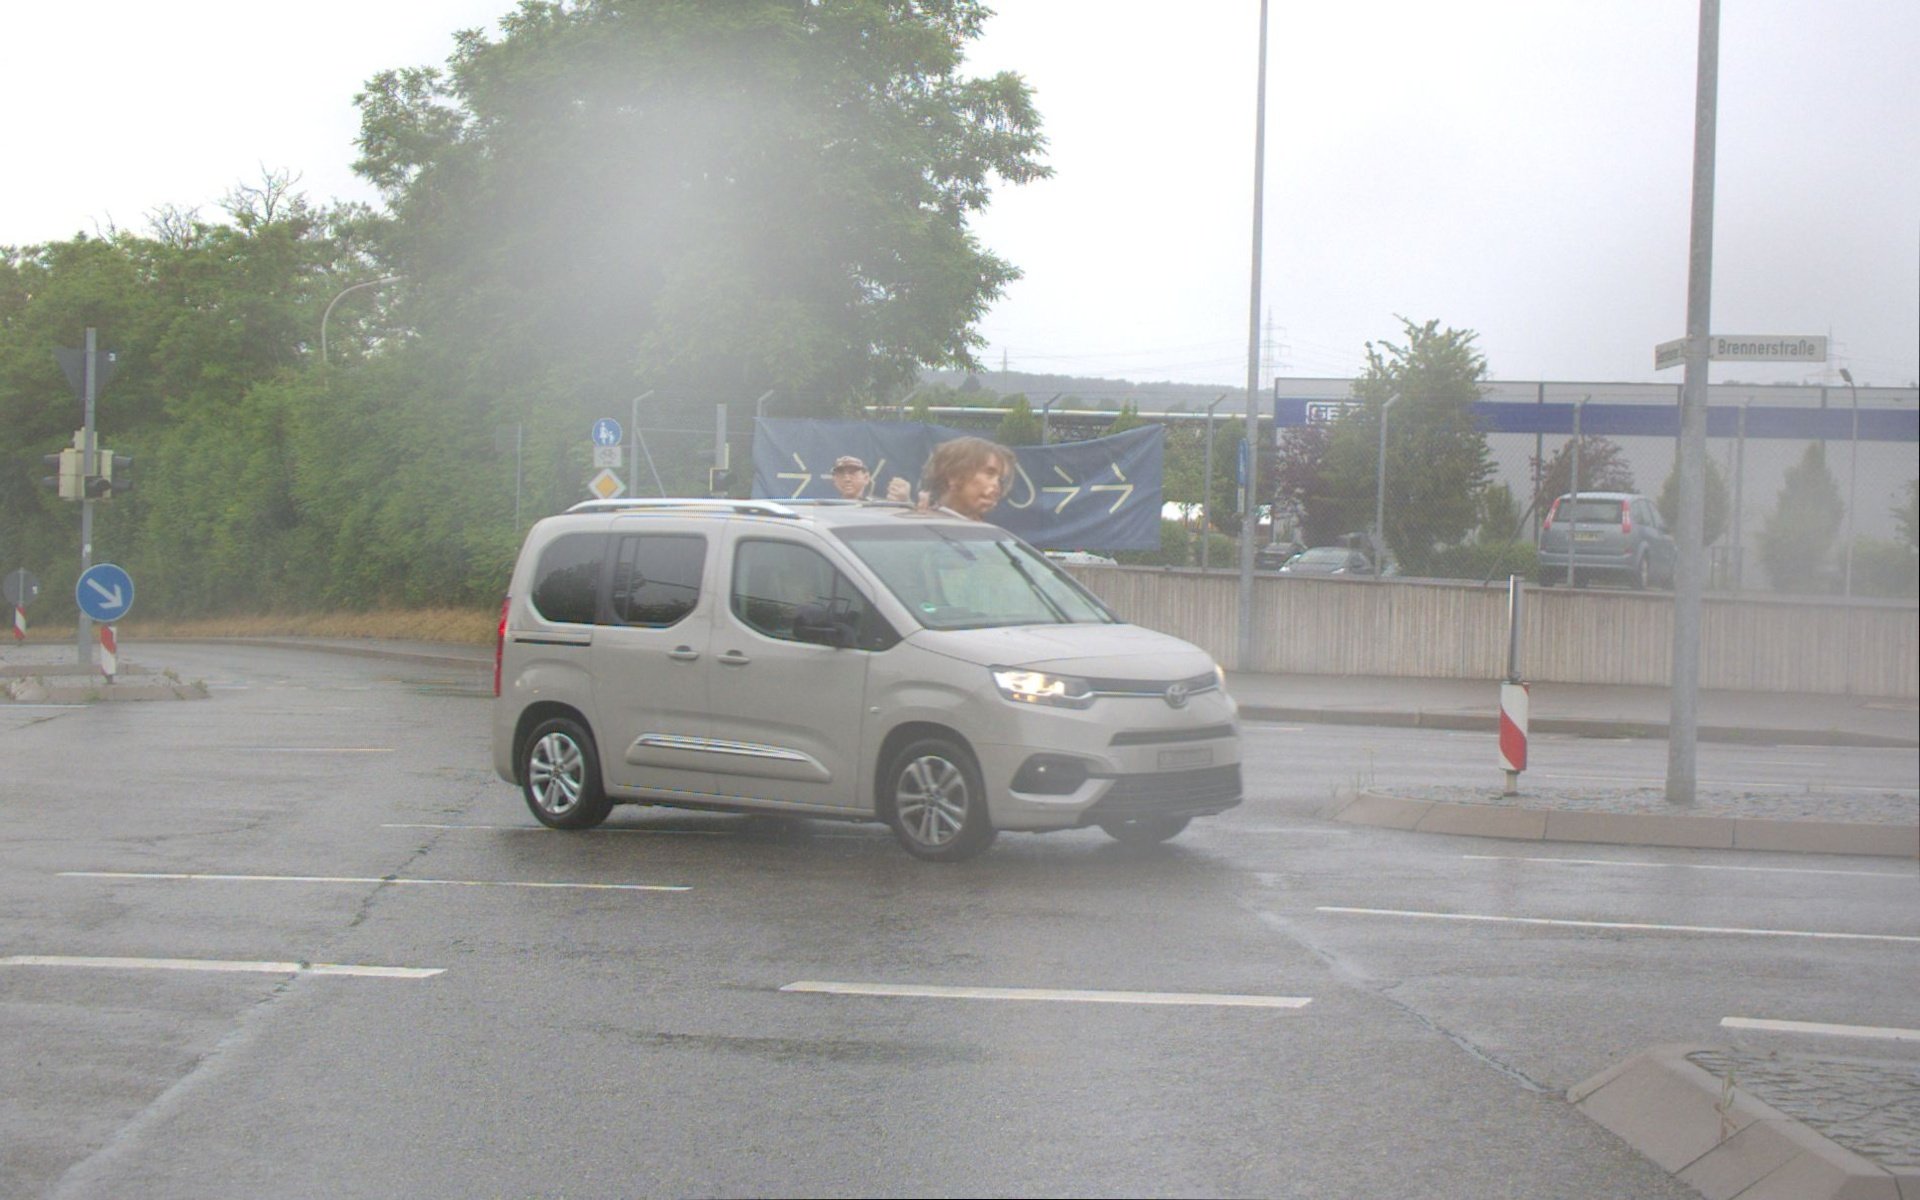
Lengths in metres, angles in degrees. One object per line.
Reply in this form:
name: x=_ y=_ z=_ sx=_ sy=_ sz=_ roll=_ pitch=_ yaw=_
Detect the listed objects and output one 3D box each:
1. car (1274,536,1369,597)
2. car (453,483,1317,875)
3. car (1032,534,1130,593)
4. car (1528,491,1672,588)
car: x=9.751 y=-0.892 z=92.600 sx=1.668 sy=1.601 sz=3.527 roll=1 pitch=1 yaw=21
car: x=-0.503 y=0.334 z=18.357 sx=4.480 sy=1.837 sz=1.995 roll=1 pitch=1 yaw=43
car: x=3.396 y=-1.013 z=95.901 sx=1.668 sy=1.601 sz=3.527 roll=1 pitch=1 yaw=21
car: x=10.714 y=-0.995 z=57.435 sx=1.744 sy=1.548 sz=3.527 roll=1 pitch=1 yaw=21
